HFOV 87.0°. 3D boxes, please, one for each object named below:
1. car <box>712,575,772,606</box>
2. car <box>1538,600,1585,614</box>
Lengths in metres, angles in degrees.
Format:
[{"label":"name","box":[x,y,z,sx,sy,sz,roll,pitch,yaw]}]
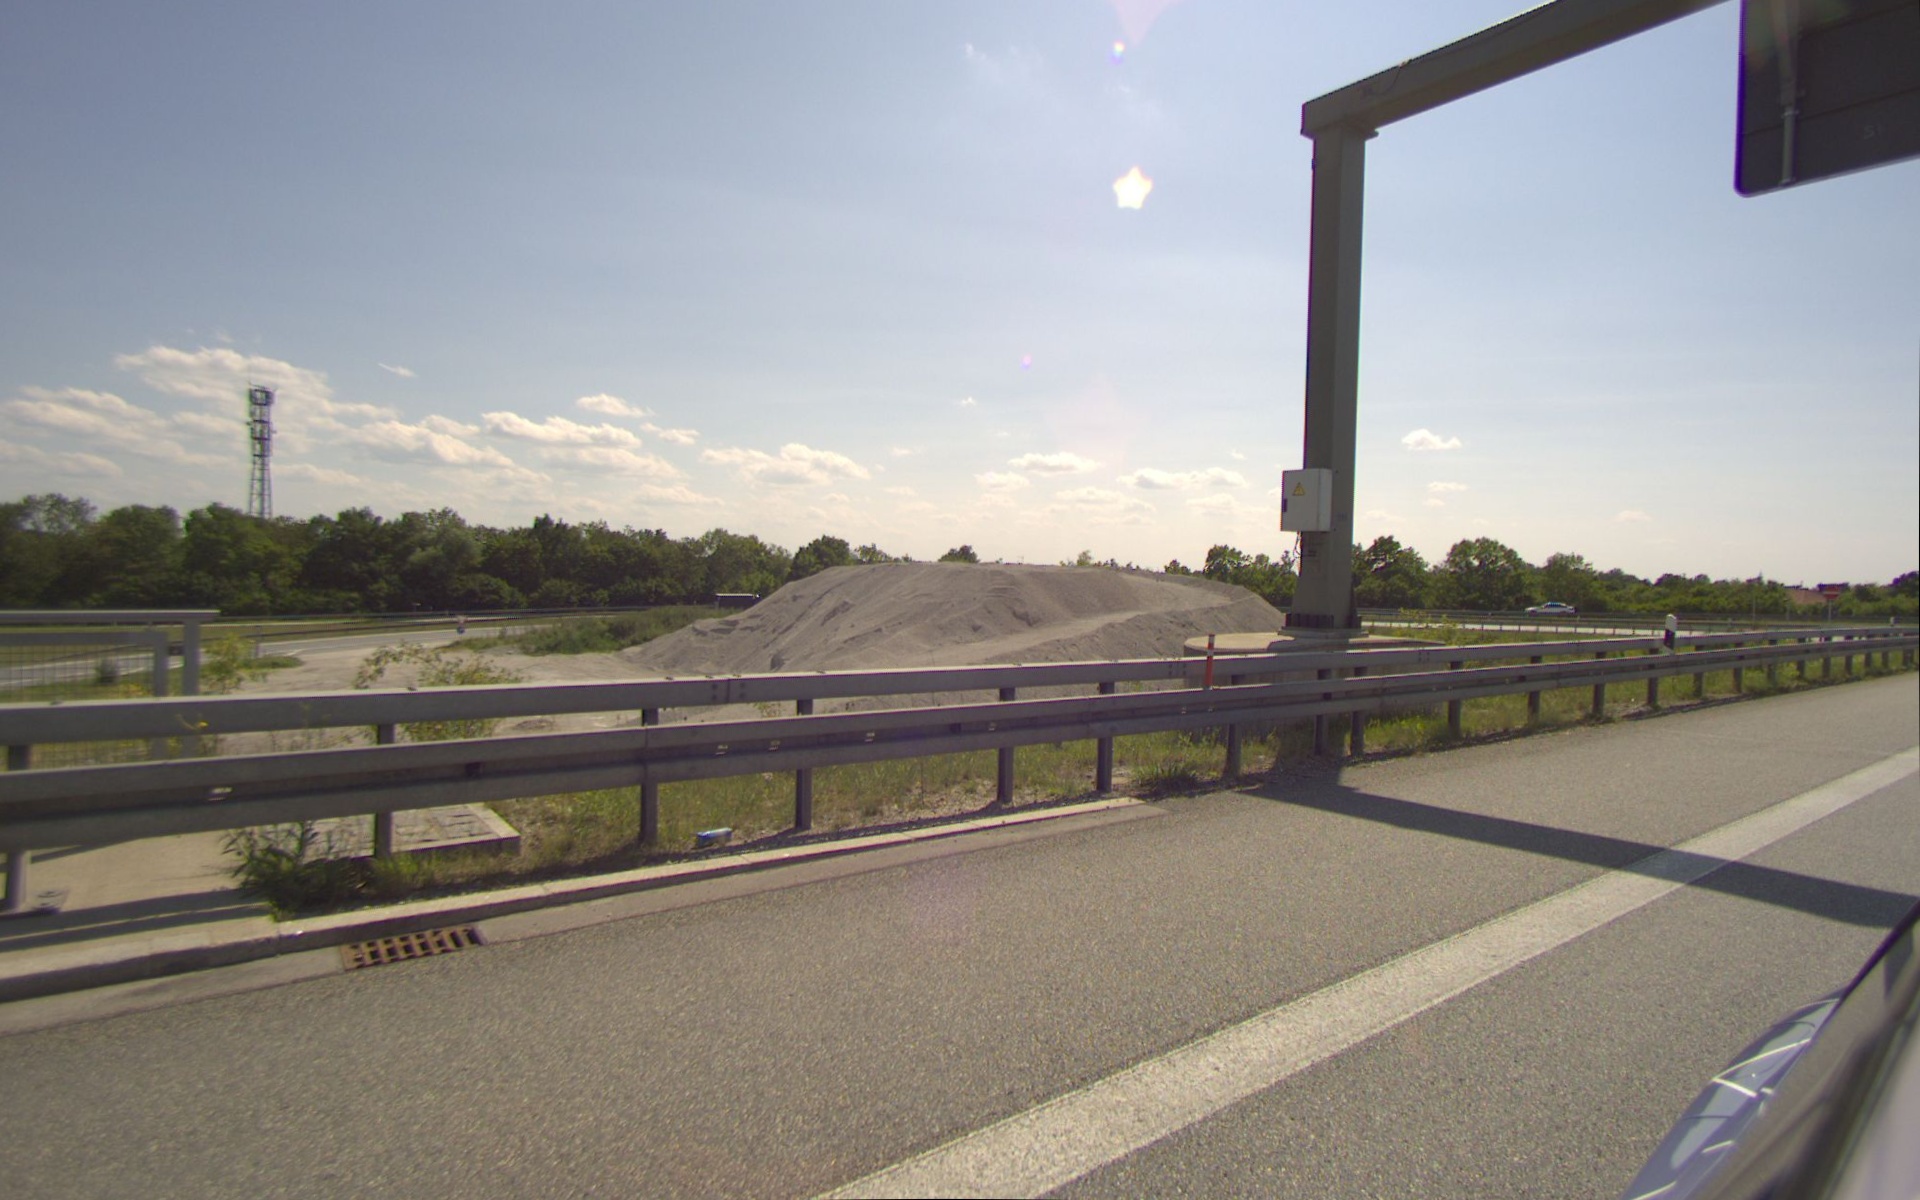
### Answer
[{"label":"car","box":[-26.805,-1.194,124.501,6.940,3.676,2.001,-1,-2,-32]},{"label":"car","box":[65.418,0.793,110.129,4.261,1.527,1.979,0,0,30]}]
